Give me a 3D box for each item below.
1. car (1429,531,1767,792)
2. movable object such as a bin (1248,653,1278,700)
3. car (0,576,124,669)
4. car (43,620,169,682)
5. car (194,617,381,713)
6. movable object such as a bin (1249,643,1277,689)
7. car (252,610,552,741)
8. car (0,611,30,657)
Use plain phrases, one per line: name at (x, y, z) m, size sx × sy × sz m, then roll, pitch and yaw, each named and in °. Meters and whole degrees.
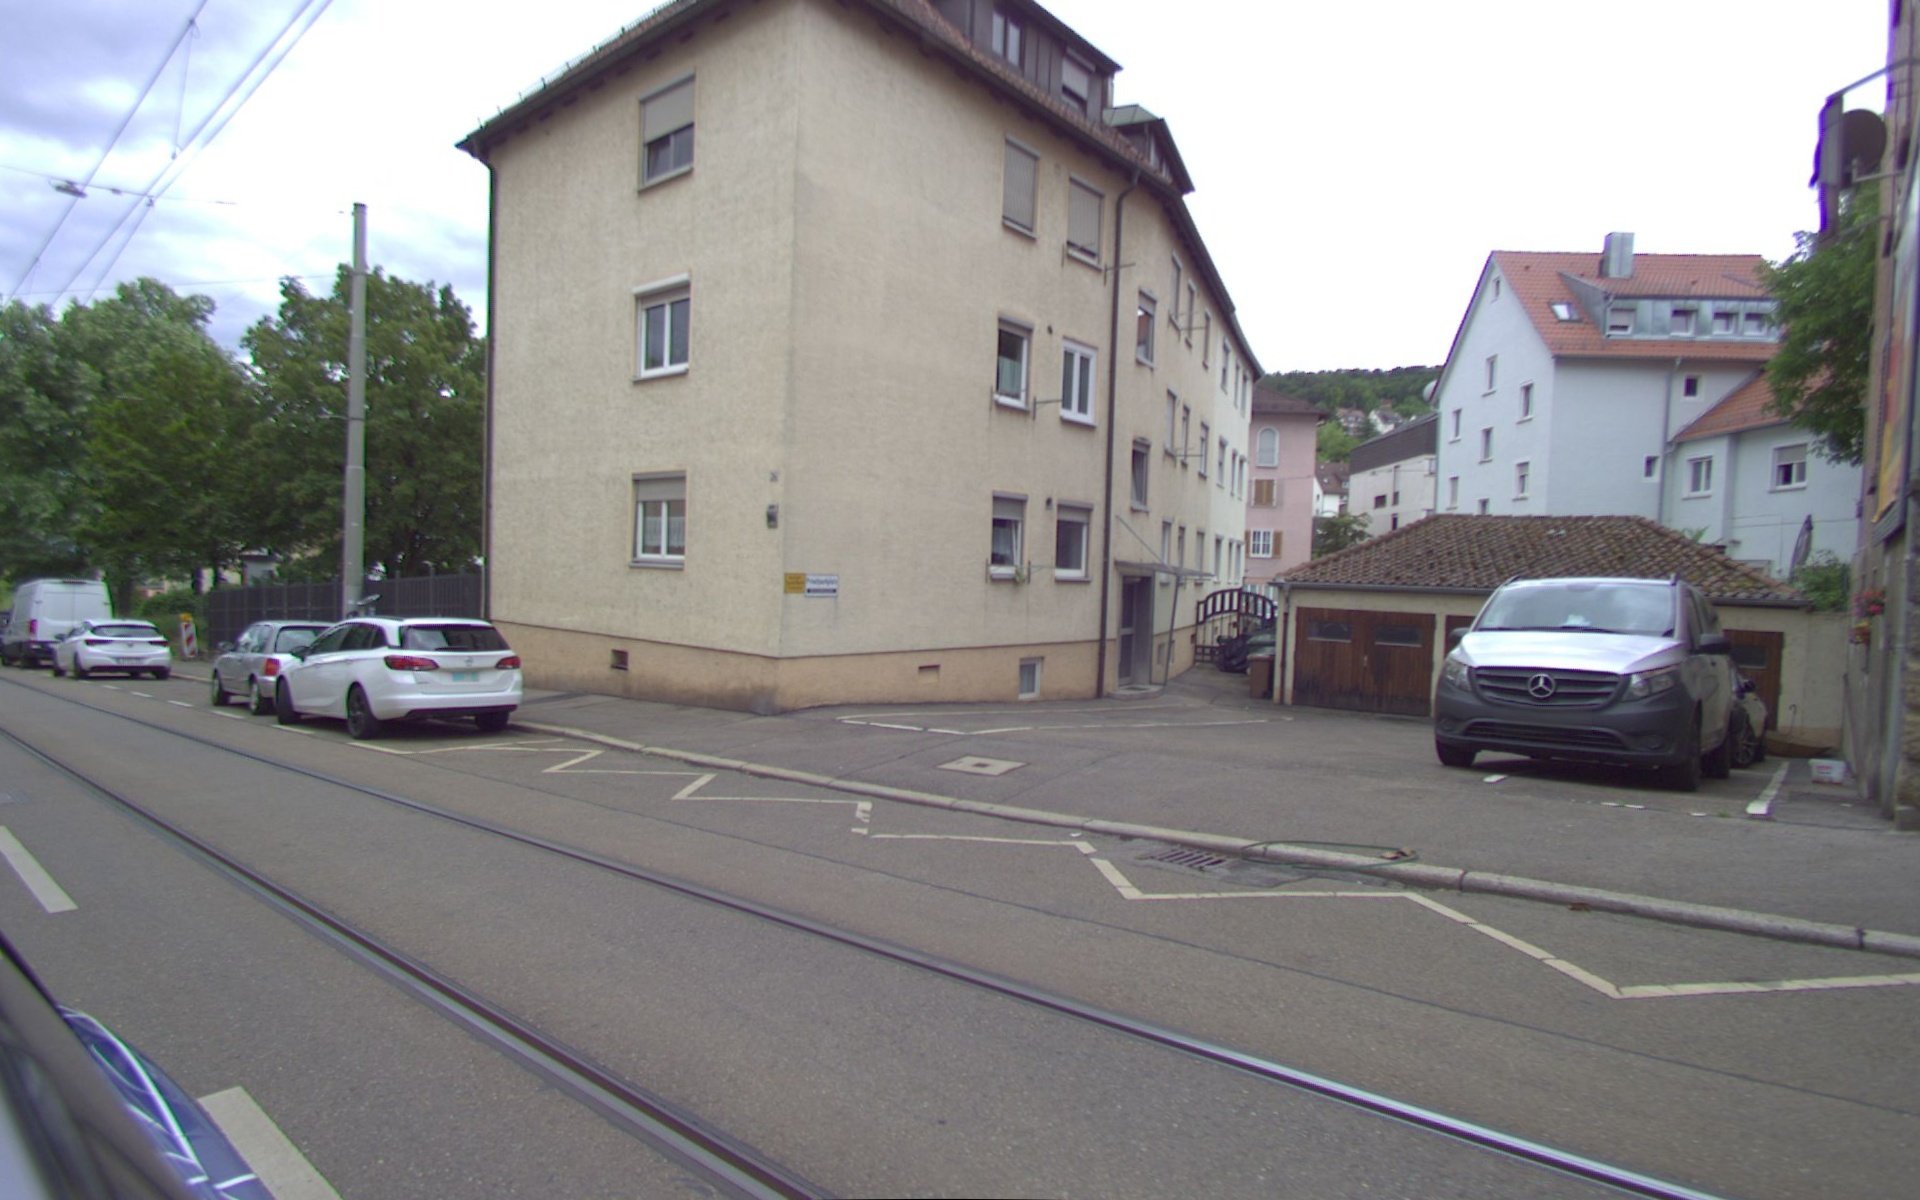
car at (6.317, 0.676, 9.684) m, size 1.940 × 1.832 × 5.119 m, roll -1°, pitch -6°, yaw 41°
movable object such as a bin at (6.355, 1.596, 21.192) m, size 0.539 × 0.904 × 0.491 m, roll 3°, pitch 1°, yaw 19°
car at (-28.297, 0.748, 31.605) m, size 6.213 × 2.627 × 2.137 m, roll -1°, pitch -4°, yaw 40°
car at (-21.127, 1.240, 24.982) m, size 4.311 × 1.413 × 1.701 m, roll -1°, pitch -4°, yaw 41°
car at (-10.966, 1.019, 16.413) m, size 3.806 × 1.379 × 1.583 m, roll -2°, pitch -4°, yaw 42°
movable object such as a bin at (6.872, 1.491, 22.948) m, size 0.539 × 0.982 × 0.491 m, roll 3°, pitch 1°, yaw 19°
car at (-7.450, 0.930, 13.327) m, size 4.622 × 1.440 × 1.809 m, roll -1°, pitch -4°, yaw 39°
car at (-39.305, 1.356, 41.114) m, size 4.667 × 1.789 × 1.743 m, roll -1°, pitch -4°, yaw 43°
